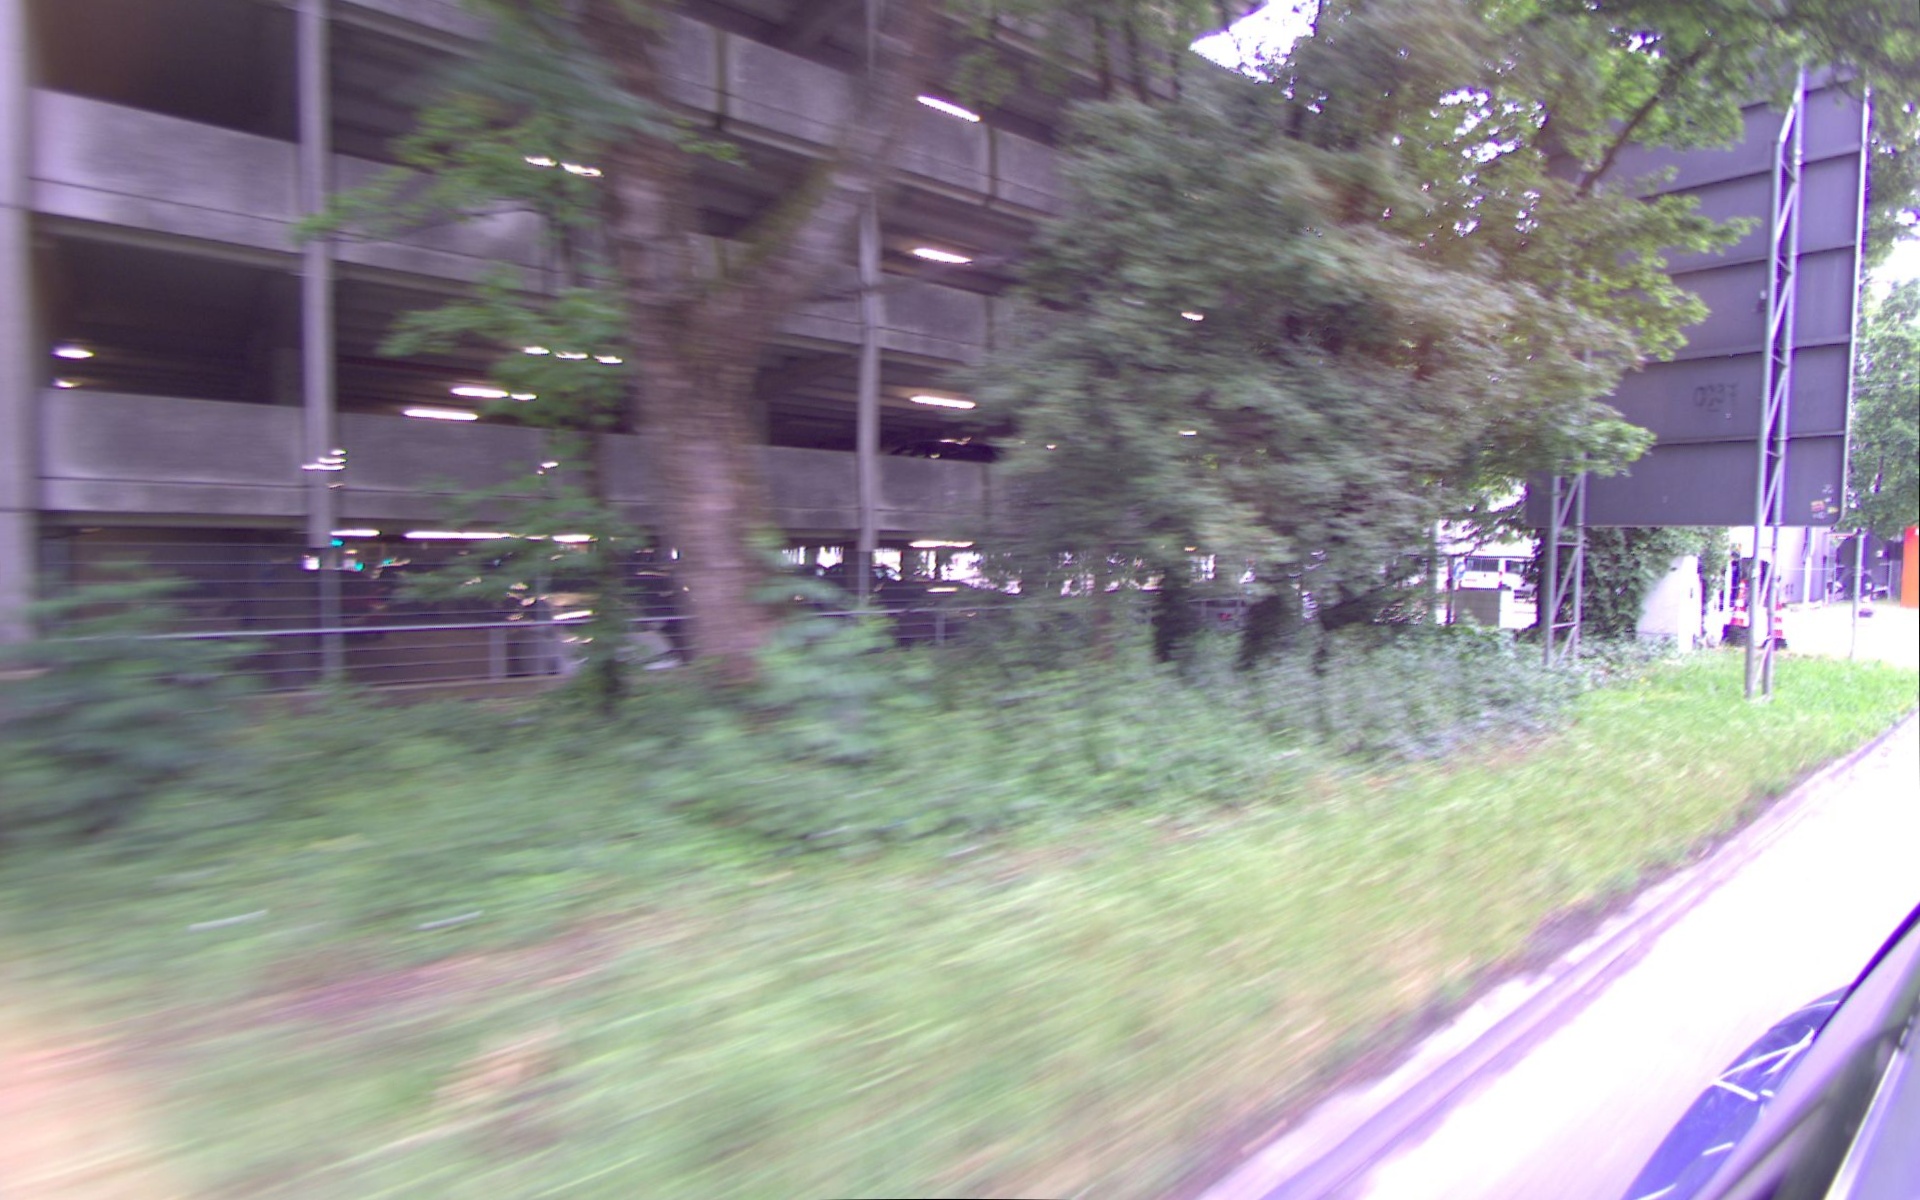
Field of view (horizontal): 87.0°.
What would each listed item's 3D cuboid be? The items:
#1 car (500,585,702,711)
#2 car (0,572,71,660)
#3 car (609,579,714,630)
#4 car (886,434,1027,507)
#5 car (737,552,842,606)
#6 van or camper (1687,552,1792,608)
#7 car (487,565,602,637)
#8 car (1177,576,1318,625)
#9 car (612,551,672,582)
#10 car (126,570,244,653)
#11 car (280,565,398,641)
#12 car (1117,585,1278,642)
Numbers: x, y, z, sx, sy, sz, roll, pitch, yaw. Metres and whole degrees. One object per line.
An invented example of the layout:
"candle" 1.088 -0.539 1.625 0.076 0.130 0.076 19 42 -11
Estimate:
"car" -5.800 0.620 16.012 1.680 1.473 4.455 -3 5 -38
"car" -18.633 0.249 19.747 1.793 1.469 4.069 -1 3 -39
"car" -7.989 0.077 26.966 1.496 1.190 3.341 -3 3 -39
"car" -0.124 -2.528 20.247 1.332 1.261 2.896 -3 4 -38
"car" -6.135 -0.796 36.139 1.965 1.748 3.997 -3 5 -39
"van or camper" 32.487 -0.795 42.112 5.541 2.136 2.169 1 1 -39
"car" -10.450 -0.046 25.344 1.680 1.543 3.725 -3 5 -38
"car" 7.401 -0.030 26.230 1.511 1.100 3.253 -1 3 -38
"car" -15.283 -1.626 48.505 1.495 1.343 3.774 -1 4 -38
"car" -16.115 0.158 20.987 1.793 1.433 4.069 -1 3 -39
"car" -14.416 0.000 23.382 1.793 1.506 4.069 -1 3 -39
"car" 5.714 0.270 24.693 1.592 1.176 3.640 -1 3 -37
